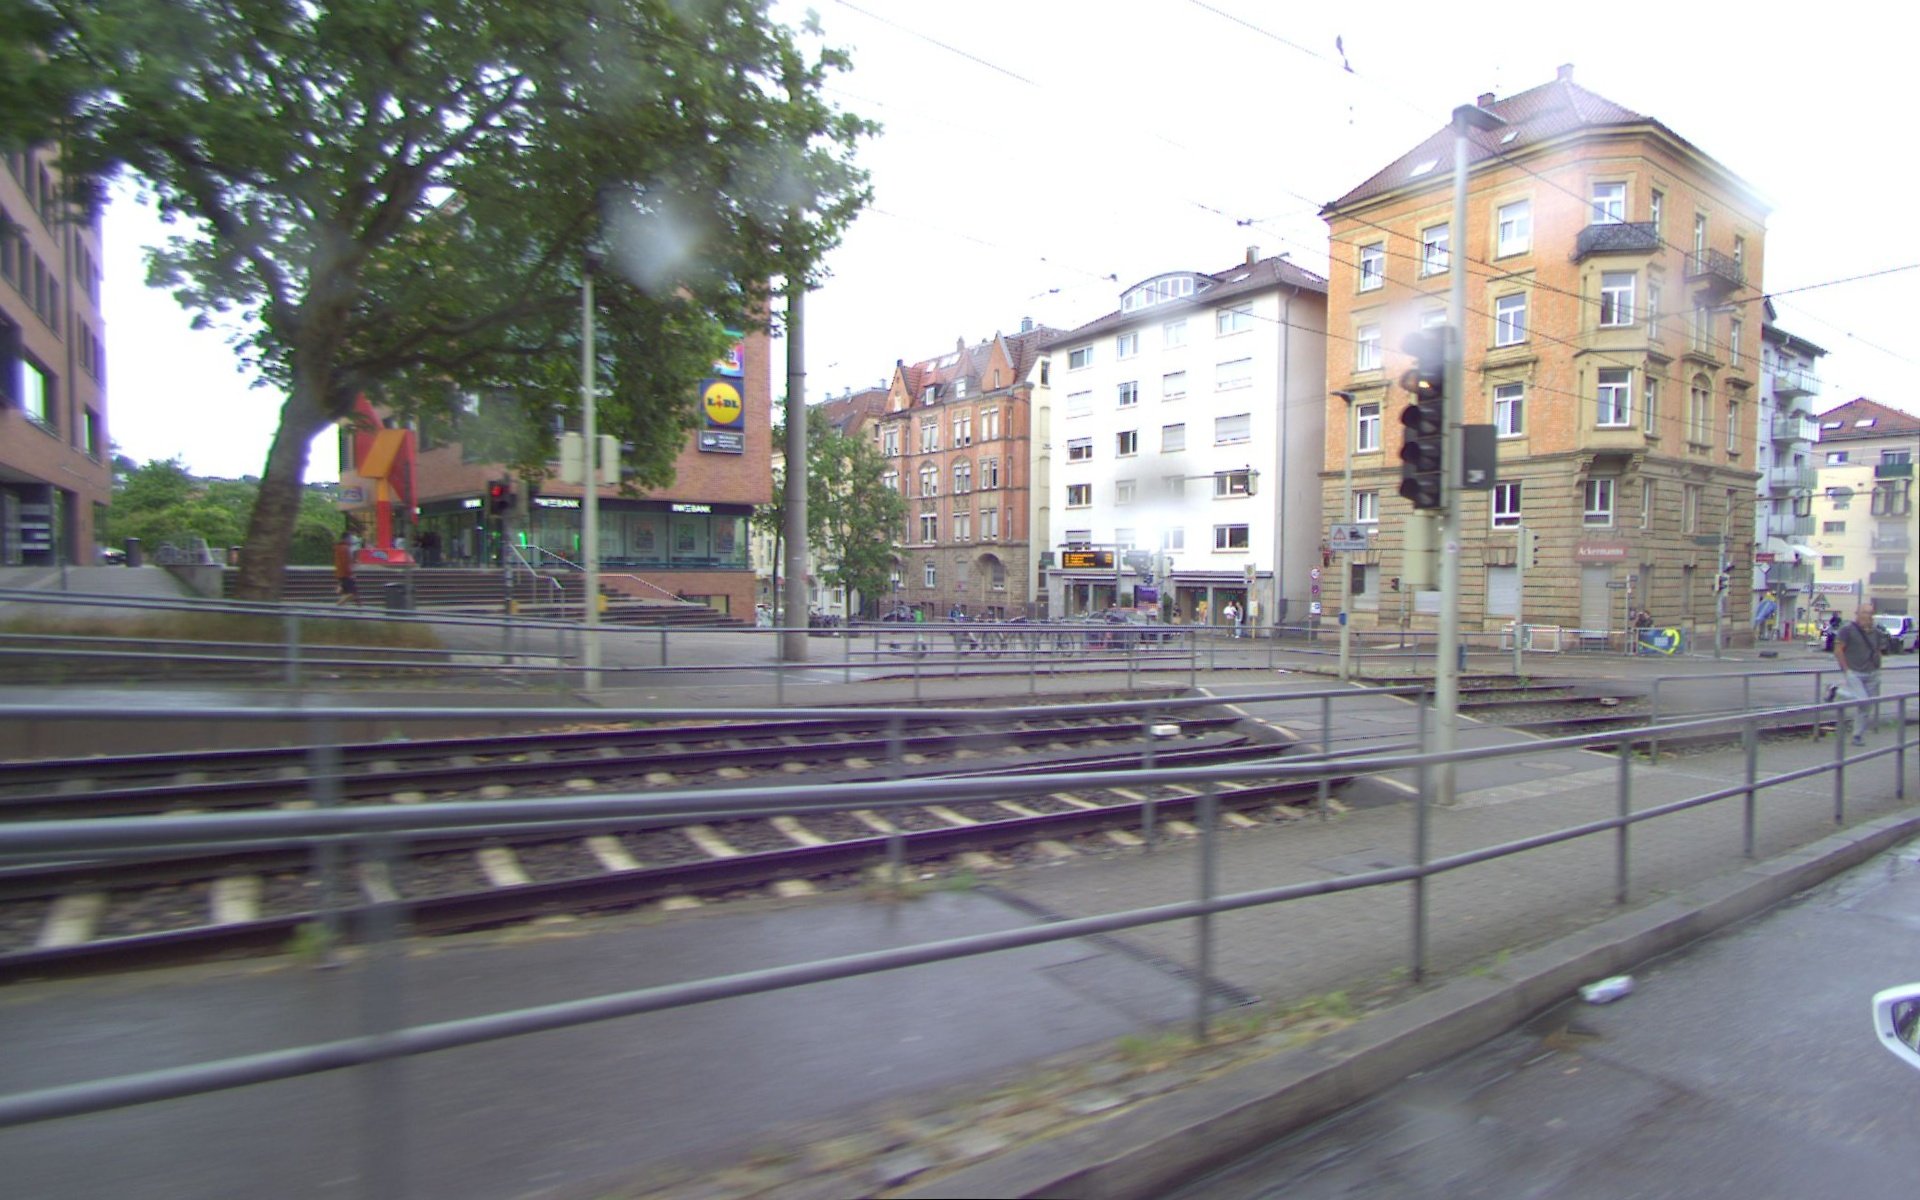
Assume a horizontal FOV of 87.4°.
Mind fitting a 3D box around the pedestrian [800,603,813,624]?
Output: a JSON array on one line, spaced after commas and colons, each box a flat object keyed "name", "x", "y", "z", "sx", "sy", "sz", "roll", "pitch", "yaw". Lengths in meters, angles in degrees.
[{"name": "pedestrian", "x": -13.853, "y": 1.241, "z": 90.700, "sx": 0.806, "sy": 1.861, "sz": 0.761, "roll": 2, "pitch": 1, "yaw": -37}]

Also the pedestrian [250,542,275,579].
[{"name": "pedestrian", "x": -30.802, "y": -1.745, "z": 44.345, "sx": 0.704, "sy": 1.571, "sz": 0.624, "roll": 2, "pitch": 0, "yaw": -15}]

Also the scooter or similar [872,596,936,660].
[{"name": "scooter or similar", "x": -1.273, "y": 0.618, "z": 22.809, "sx": 1.483, "sy": 1.389, "sz": 0.451, "roll": 2, "pitch": 1, "yaw": 38}]

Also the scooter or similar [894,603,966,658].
[{"name": "scooter or similar", "x": -0.701, "y": 0.686, "z": 23.159, "sx": 1.689, "sy": 1.210, "sz": 0.477, "roll": 1, "pitch": 0, "yaw": 34}]

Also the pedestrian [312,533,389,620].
[{"name": "pedestrian", "x": -13.347, "y": -0.508, "z": 22.036, "sx": 1.049, "sy": 1.767, "sz": 0.793, "roll": 5, "pitch": 0, "yaw": -2}]

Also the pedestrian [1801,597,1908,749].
[{"name": "pedestrian", "x": 11.342, "y": 0.894, "z": 12.742, "sx": 0.992, "sy": 1.822, "sz": 0.819, "roll": 2, "pitch": 0, "yaw": -38}]

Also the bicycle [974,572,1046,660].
[{"name": "bicycle", "x": 1.202, "y": 0.359, "z": 24.574, "sx": 0.515, "sy": 2.040, "sz": 1.873, "roll": 1, "pitch": 1, "yaw": -42}]

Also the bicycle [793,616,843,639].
[{"name": "bicycle", "x": -7.086, "y": 1.385, "z": 50.298, "sx": 2.342, "sy": 1.116, "sz": 0.844, "roll": 2, "pitch": 1, "yaw": -33}]

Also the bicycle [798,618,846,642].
[{"name": "bicycle", "x": -6.778, "y": 1.475, "z": 49.284, "sx": 2.351, "sy": 1.116, "sz": 0.691, "roll": 1, "pitch": 1, "yaw": -44}]

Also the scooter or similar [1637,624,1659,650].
[{"name": "scooter or similar", "x": 25.810, "y": 1.381, "z": 37.687, "sx": 0.545, "sy": 0.957, "sz": 0.577, "roll": 1, "pitch": 0, "yaw": 24}]

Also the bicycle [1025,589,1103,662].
[{"name": "bicycle", "x": 2.653, "y": 0.636, "z": 25.927, "sx": 0.553, "sy": 1.720, "sz": 2.071, "roll": 3, "pitch": 1, "yaw": -42}]

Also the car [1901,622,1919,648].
[{"name": "car", "x": 58.223, "y": 2.123, "z": 60.303, "sx": 4.031, "sy": 1.471, "sz": 1.643, "roll": 2, "pitch": 0, "yaw": -34}]

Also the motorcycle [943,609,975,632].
[{"name": "motorcycle", "x": -0.063, "y": 1.094, "z": 54.853, "sx": 0.857, "sy": 1.174, "sz": 1.834, "roll": 1, "pitch": 0, "yaw": -34}]

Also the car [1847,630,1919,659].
[{"name": "car", "x": 53.021, "y": 2.518, "z": 56.940, "sx": 3.905, "sy": 1.453, "sz": 1.785, "roll": 2, "pitch": 0, "yaw": -2}]

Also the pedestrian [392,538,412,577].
[{"name": "pedestrian", "x": -25.506, "y": -1.938, "z": 45.878, "sx": 0.643, "sy": 1.753, "sz": 0.611, "roll": 1, "pitch": 0, "yaw": -43}]

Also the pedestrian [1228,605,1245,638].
[{"name": "pedestrian", "x": 14.060, "y": 1.091, "z": 51.101, "sx": 0.588, "sy": 1.690, "sz": 0.598, "roll": 2, "pitch": 0, "yaw": -26}]

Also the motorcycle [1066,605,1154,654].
[{"name": "motorcycle", "x": 4.455, "y": 0.858, "z": 29.990, "sx": 0.860, "sy": 1.389, "sz": 2.626, "roll": 2, "pitch": -1, "yaw": -42}]

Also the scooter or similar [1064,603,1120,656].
[{"name": "scooter or similar", "x": 3.666, "y": 0.816, "z": 28.020, "sx": 1.483, "sy": 1.389, "sz": 0.451, "roll": 2, "pitch": 1, "yaw": 38}]

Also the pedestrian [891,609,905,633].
[{"name": "pedestrian", "x": -4.801, "y": 1.629, "z": 78.089, "sx": 0.806, "sy": 1.861, "sz": 0.762, "roll": 1, "pitch": 0, "yaw": -37}]

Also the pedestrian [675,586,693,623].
[{"name": "pedestrian", "x": -12.045, "y": 0.208, "z": 43.833, "sx": 0.586, "sy": 1.587, "sz": 0.515, "roll": 1, "pitch": 1, "yaw": -33}]

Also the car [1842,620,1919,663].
[{"name": "car", "x": 49.432, "y": 2.173, "z": 53.874, "sx": 5.251, "sy": 2.036, "sz": 2.055, "roll": 1, "pitch": 3, "yaw": -37}]

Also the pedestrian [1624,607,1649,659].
[{"name": "pedestrian", "x": 24.737, "y": 1.188, "z": 36.735, "sx": 0.615, "sy": 1.864, "sz": 0.640, "roll": 1, "pitch": 0, "yaw": 22}]

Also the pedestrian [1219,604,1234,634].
[{"name": "pedestrian", "x": 13.787, "y": 0.976, "z": 51.969, "sx": 0.492, "sy": 1.557, "sz": 0.527, "roll": 1, "pitch": 1, "yaw": -32}]

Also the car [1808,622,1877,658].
[{"name": "car", "x": 44.092, "y": 1.977, "z": 50.143, "sx": 4.323, "sy": 1.673, "sz": 1.720, "roll": 2, "pitch": 1, "yaw": -37}]

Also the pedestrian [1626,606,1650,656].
[{"name": "pedestrian", "x": 24.851, "y": 1.138, "z": 36.823, "sx": 0.615, "sy": 1.791, "sz": 0.640, "roll": -1, "pitch": 2, "yaw": 22}]

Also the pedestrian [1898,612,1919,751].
[{"name": "pedestrian", "x": 11.819, "y": 0.976, "z": 11.923, "sx": 0.992, "sy": 1.626, "sz": 0.828, "roll": 2, "pitch": 0, "yaw": -38}]

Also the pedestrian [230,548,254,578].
[{"name": "pedestrian", "x": -38.637, "y": -1.985, "z": 54.046, "sx": 0.715, "sy": 1.551, "sz": 0.854, "roll": 2, "pitch": 0, "yaw": -10}]

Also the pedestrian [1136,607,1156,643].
[{"name": "pedestrian", "x": 10.707, "y": 1.442, "z": 57.844, "sx": 0.759, "sy": 2.040, "sz": 0.859, "roll": 2, "pitch": 0, "yaw": -31}]

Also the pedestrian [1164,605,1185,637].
[{"name": "pedestrian", "x": 11.665, "y": 1.120, "z": 54.656, "sx": 0.660, "sy": 1.692, "sz": 0.825, "roll": 2, "pitch": 0, "yaw": -32}]

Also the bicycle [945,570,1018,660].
[{"name": "bicycle", "x": 0.488, "y": 0.334, "z": 23.883, "sx": 0.515, "sy": 2.040, "sz": 1.873, "roll": 1, "pitch": 1, "yaw": -42}]

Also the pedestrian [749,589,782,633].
[{"name": "pedestrian", "x": -7.977, "y": 0.444, "z": 41.146, "sx": 0.999, "sy": 1.753, "sz": 0.890, "roll": 2, "pitch": 0, "yaw": -36}]

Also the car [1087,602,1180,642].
[{"name": "car", "x": 7.636, "y": 0.959, "z": 44.504, "sx": 1.824, "sy": 1.687, "sz": 3.959, "roll": 1, "pitch": -1, "yaw": -36}]

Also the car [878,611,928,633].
[{"name": "car", "x": -3.884, "y": 1.462, "z": 68.245, "sx": 1.619, "sy": 1.310, "sz": 3.963, "roll": 2, "pitch": 1, "yaw": -33}]

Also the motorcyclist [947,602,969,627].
[{"name": "motorcyclist", "x": -0.118, "y": 0.787, "z": 54.947, "sx": 0.833, "sy": 1.320, "sz": 0.807, "roll": 1, "pitch": 0, "yaw": -35}]

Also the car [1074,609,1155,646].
[{"name": "car", "x": 7.666, "y": 1.329, "z": 50.112, "sx": 1.621, "sy": 1.603, "sz": 3.958, "roll": 1, "pitch": 1, "yaw": -36}]

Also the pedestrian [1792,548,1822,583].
[{"name": "pedestrian", "x": 49.783, "y": -2.023, "z": 59.029, "sx": 1.169, "sy": 1.955, "sz": 1.160, "roll": 1, "pitch": 1, "yaw": -43}]

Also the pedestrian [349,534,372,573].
[{"name": "pedestrian", "x": -27.863, "y": -2.144, "z": 46.689, "sx": 0.639, "sy": 1.753, "sz": 0.724, "roll": 2, "pitch": 0, "yaw": 42}]
